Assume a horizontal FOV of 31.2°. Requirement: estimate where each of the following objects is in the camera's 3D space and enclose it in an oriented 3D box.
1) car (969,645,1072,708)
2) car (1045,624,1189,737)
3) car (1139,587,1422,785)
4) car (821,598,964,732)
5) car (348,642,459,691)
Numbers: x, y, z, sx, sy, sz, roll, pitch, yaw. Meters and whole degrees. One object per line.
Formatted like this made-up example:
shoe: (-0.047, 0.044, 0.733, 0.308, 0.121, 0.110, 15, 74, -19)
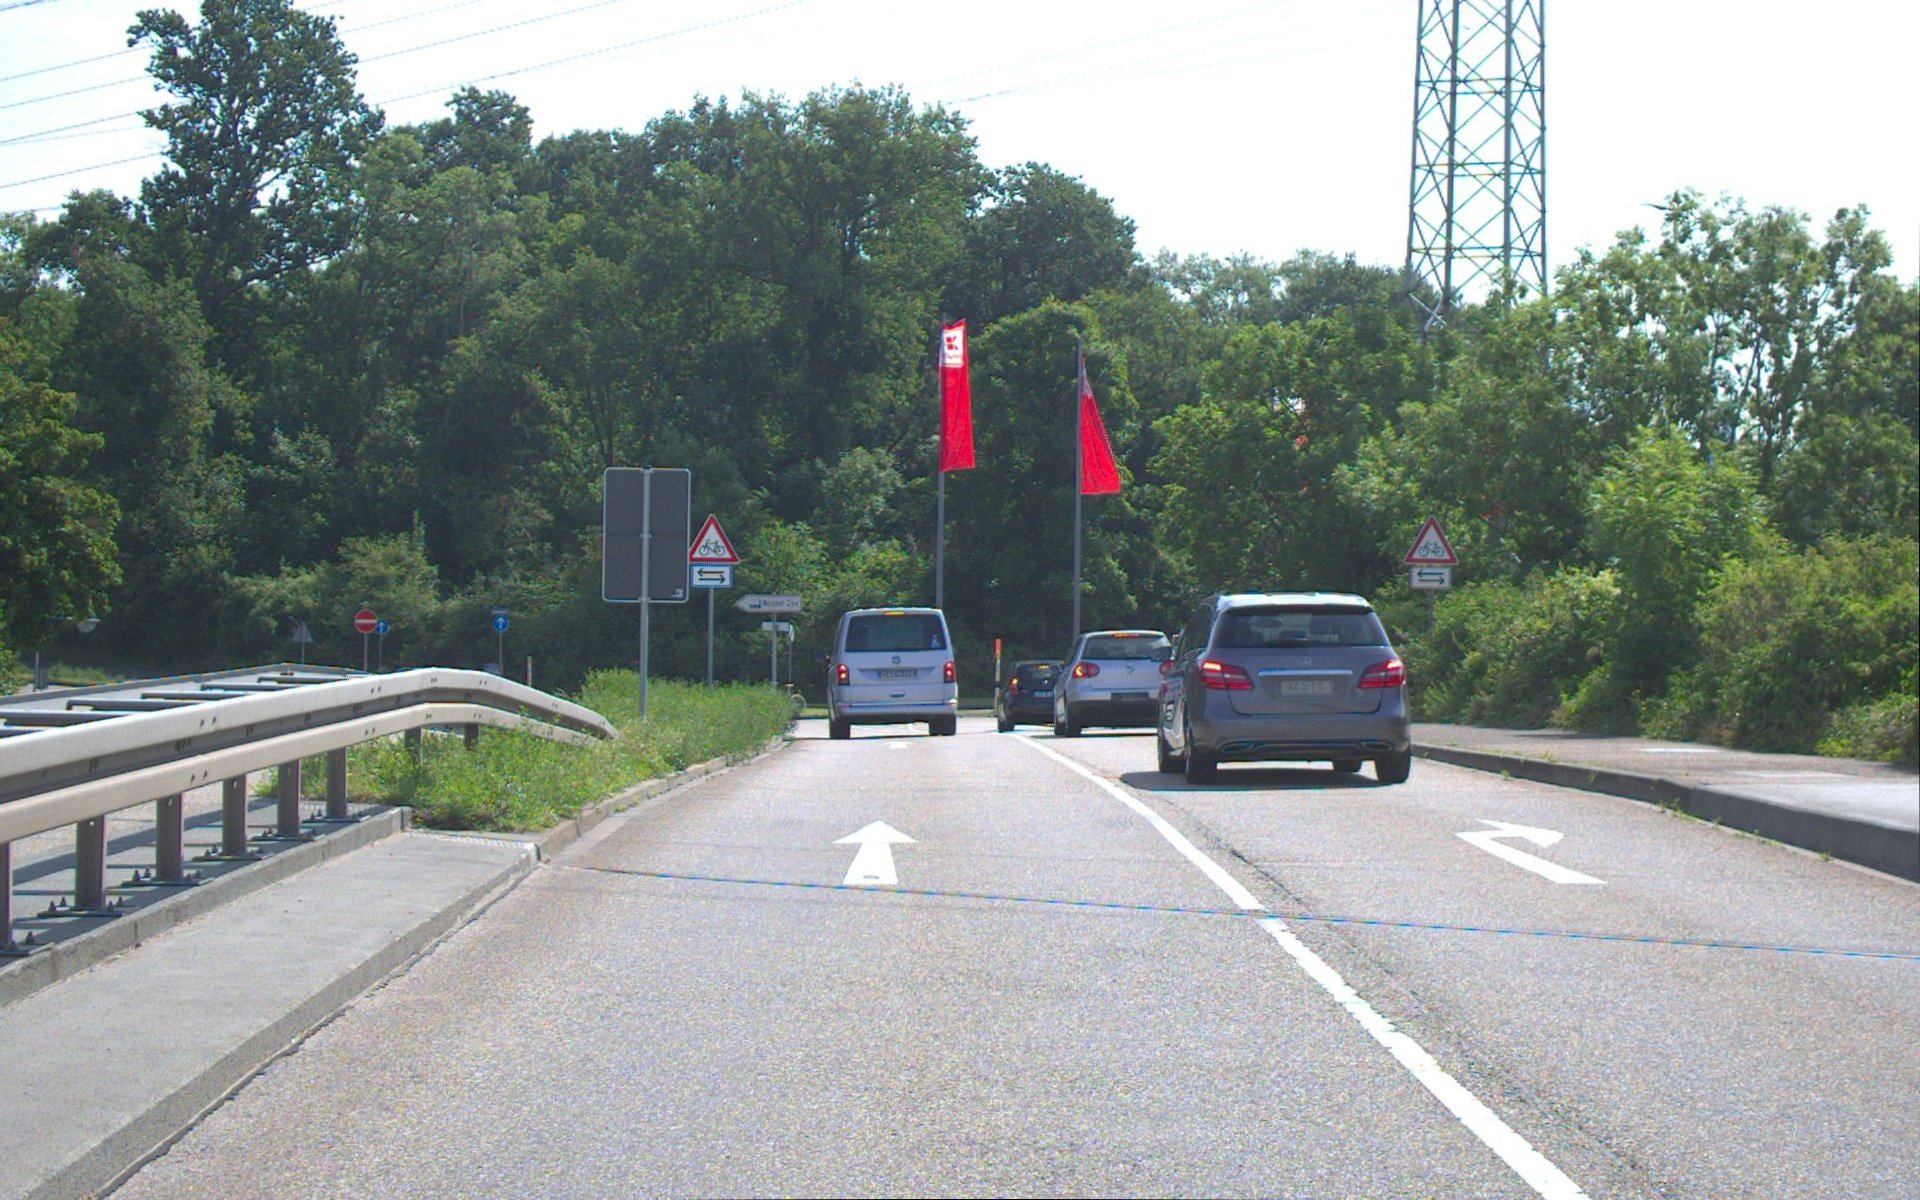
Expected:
car: (1.344, 1.676, 74.717, 1.774, 1.327, 3.739, 0, -2, 9)
car: (2.190, 1.164, 48.956, 1.856, 1.524, 4.143, 0, -2, 0)
car: (2.588, 0.680, 28.665, 1.856, 1.524, 4.144, 0, 0, -1)
car: (-1.088, 0.983, 53.288, 2.039, 2.007, 4.000, 0, 0, -4)
car: (-19.630, 2.329, 121.265, 3.651, 1.561, 1.649, 1, 2, 31)
